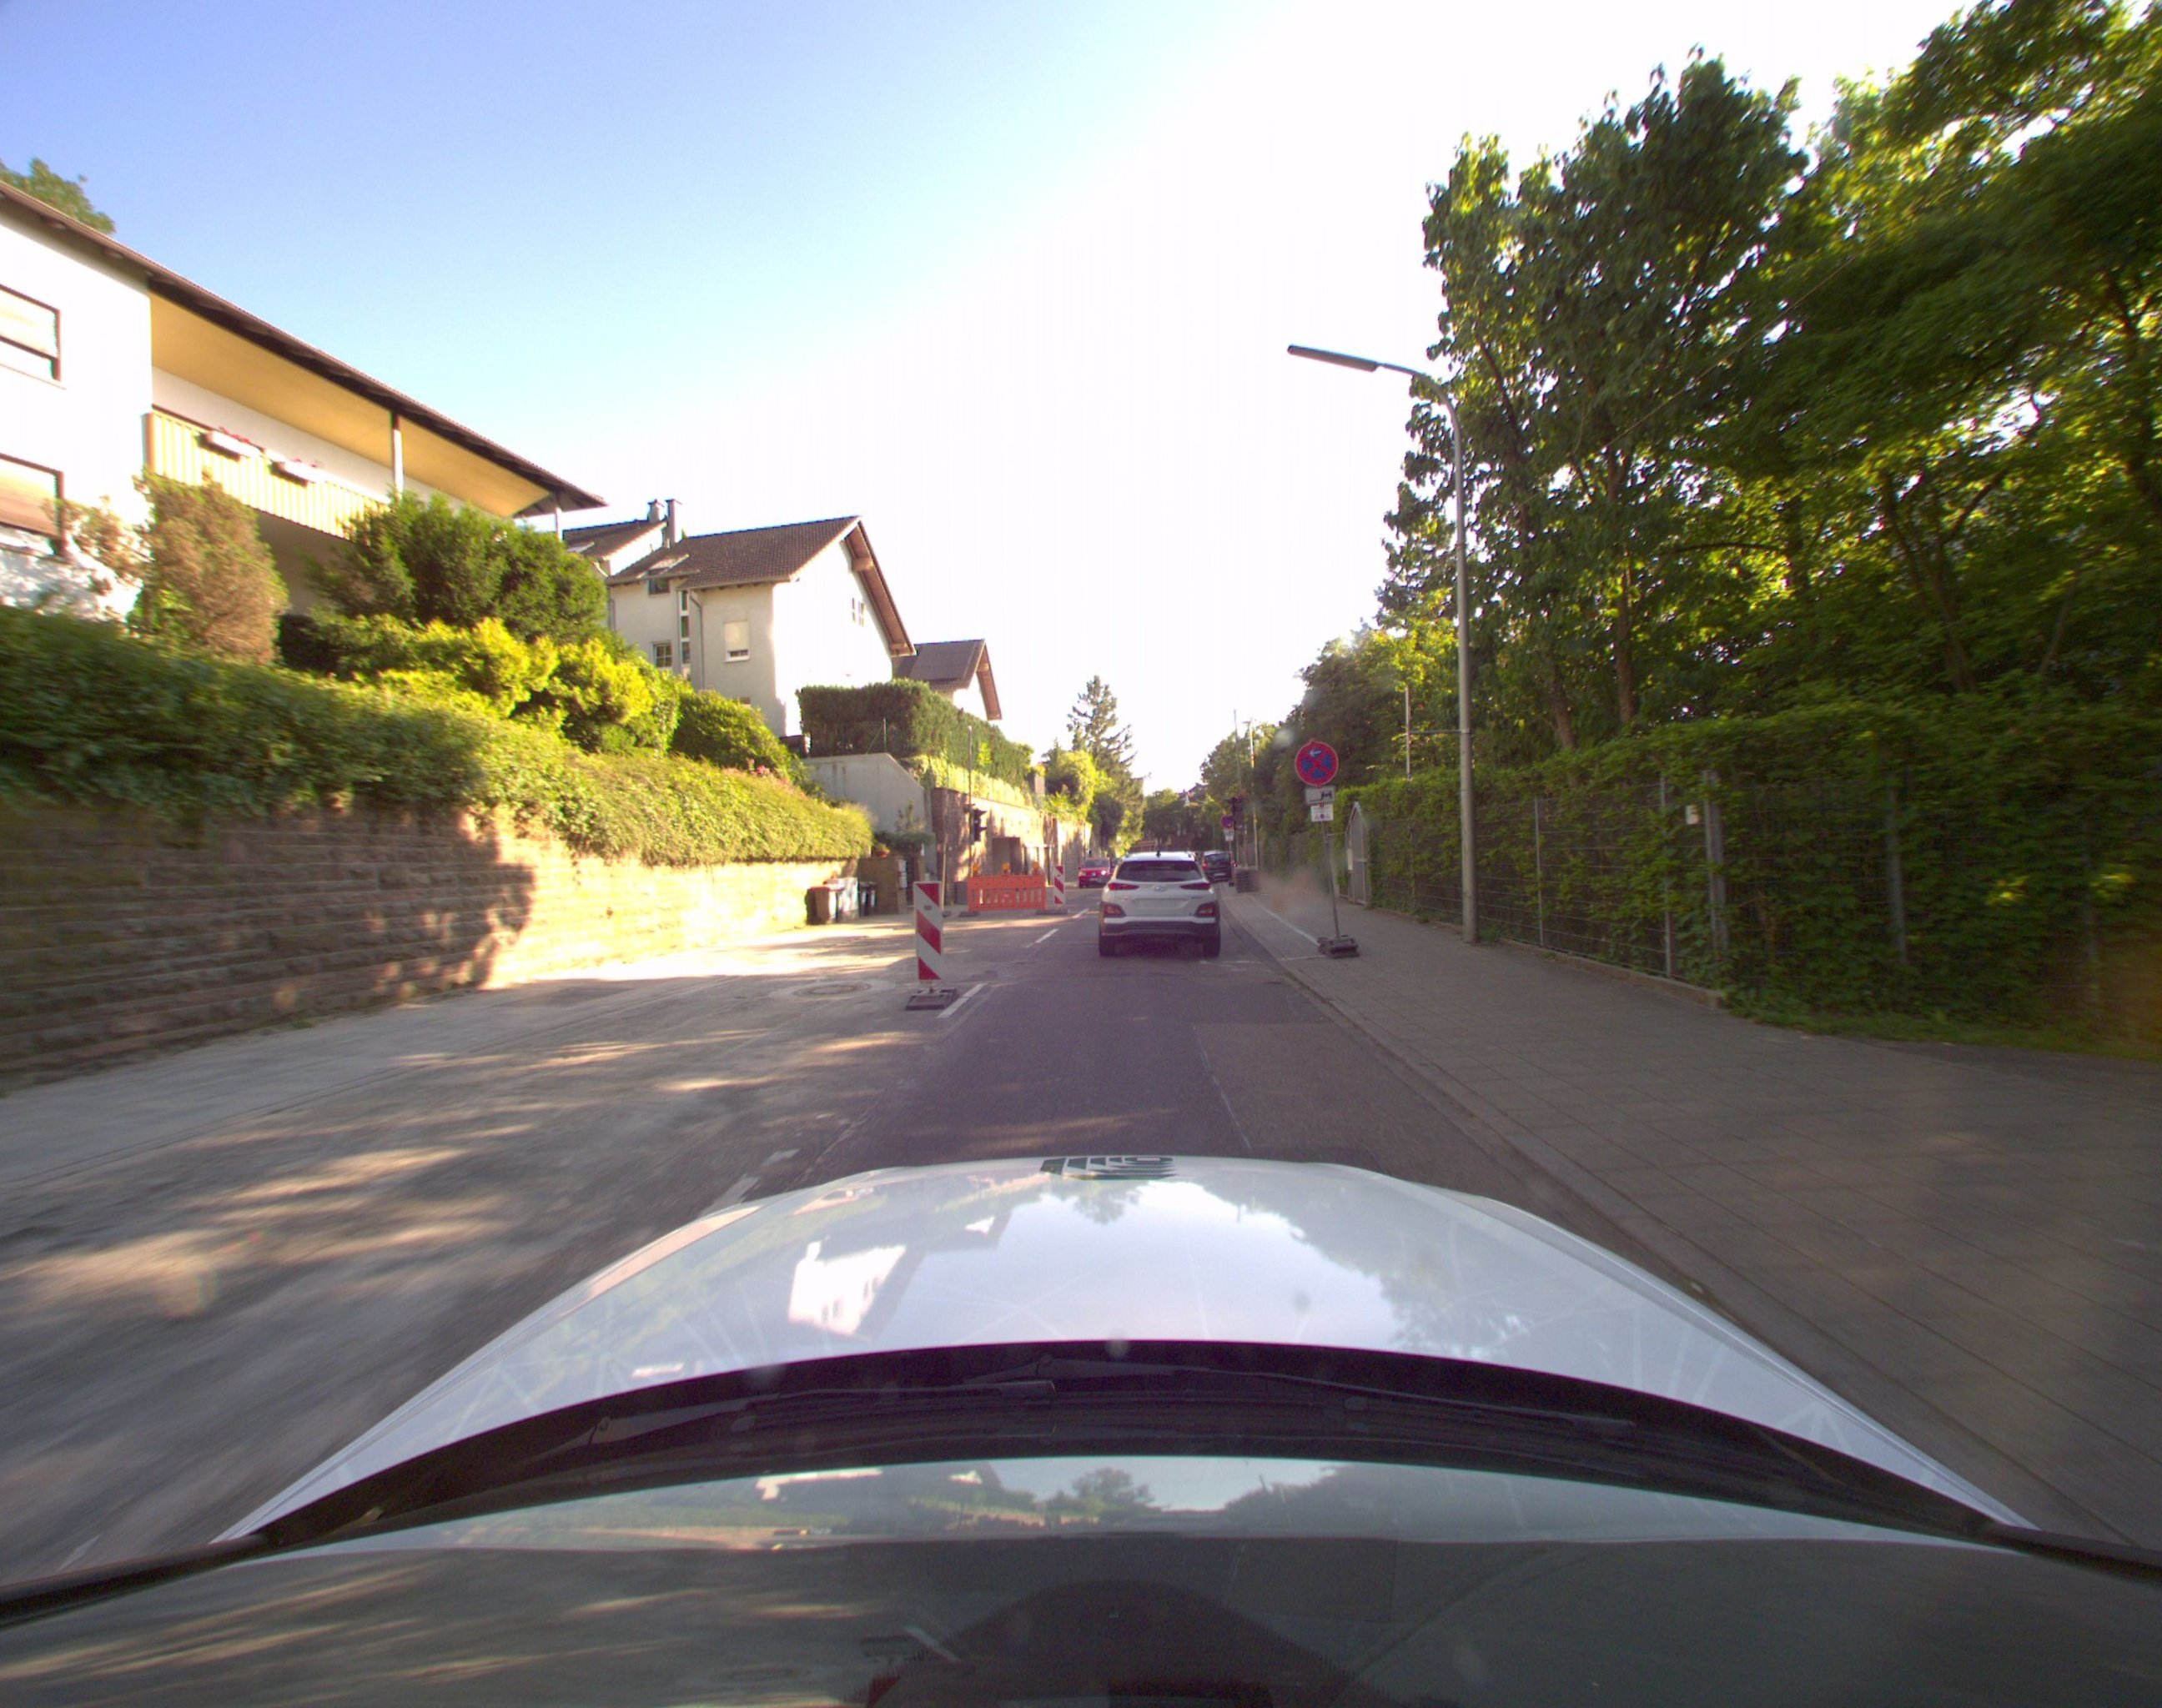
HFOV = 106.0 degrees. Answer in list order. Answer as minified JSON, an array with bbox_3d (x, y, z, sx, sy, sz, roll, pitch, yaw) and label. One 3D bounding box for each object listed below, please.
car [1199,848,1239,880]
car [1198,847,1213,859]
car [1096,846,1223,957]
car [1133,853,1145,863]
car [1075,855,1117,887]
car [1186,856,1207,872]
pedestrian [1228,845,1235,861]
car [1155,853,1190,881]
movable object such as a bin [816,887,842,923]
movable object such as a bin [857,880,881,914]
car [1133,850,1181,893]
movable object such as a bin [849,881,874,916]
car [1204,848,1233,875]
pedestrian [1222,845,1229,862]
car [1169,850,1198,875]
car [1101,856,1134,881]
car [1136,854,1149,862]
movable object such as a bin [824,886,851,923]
[{"bbox_3d":[6.818,0.488,40.462,1.784,1.441,4.010,-3,0,9],"label":"car"},{"bbox_3d":[15.993,-0.132,104.940,1.586,1.489,3.606,-5,-1,4],"label":"car"},{"bbox_3d":[1.256,0.681,13.572,1.764,1.542,4.004,-1,0,4],"label":"car"},{"bbox_3d":[9.921,0.733,138.982,1.735,1.474,4.001,-6,-1,2],"label":"car"},{"bbox_3d":[0.789,0.824,40.568,1.618,1.422,3.570,-3,-1,7],"label":"car"},{"bbox_3d":[10.564,0.906,74.087,1.683,1.447,3.893,0,0,11],"label":"car"},{"bbox_3d":[14.904,-0.091,80.686,0.500,1.569,0.505,-5,-1,9],"label":"pedestrian"},{"bbox_3d":[4.994,0.680,44.205,1.560,1.477,3.559,-1,0,11],"label":"car"},{"bbox_3d":[-6.068,1.228,19.604,0.452,0.834,0.393,-2,0,7],"label":"movable object such as a bin"},{"bbox_3d":[-5.757,1.169,22.143,0.454,0.884,0.501,-1,0,7],"label":"movable object such as a bin"},{"bbox_3d":[2.971,0.634,31.476,1.502,1.533,3.557,-3,0,10],"label":"car"},{"bbox_3d":[-5.829,1.182,21.621,0.454,0.884,0.501,-1,0,7],"label":"movable object such as a bin"},{"bbox_3d":[8.598,0.464,50.754,1.642,1.564,2.881,-3,-1,11],"label":"car"},{"bbox_3d":[14.351,-0.064,80.767,0.500,1.606,0.492,-5,-1,9],"label":"pedestrian"},{"bbox_3d":[7.176,0.564,56.911,1.683,1.533,3.892,-5,-1,10],"label":"car"},{"bbox_3d":[2.322,0.862,51.082,1.640,1.411,3.940,-3,-1,8],"label":"car"},{"bbox_3d":[11.791,0.761,156.487,1.755,1.616,3.989,-1,0,-8],"label":"car"},{"bbox_3d":[-6.001,1.238,20.071,0.454,0.884,0.501,-1,0,7],"label":"movable object such as a bin"}]
